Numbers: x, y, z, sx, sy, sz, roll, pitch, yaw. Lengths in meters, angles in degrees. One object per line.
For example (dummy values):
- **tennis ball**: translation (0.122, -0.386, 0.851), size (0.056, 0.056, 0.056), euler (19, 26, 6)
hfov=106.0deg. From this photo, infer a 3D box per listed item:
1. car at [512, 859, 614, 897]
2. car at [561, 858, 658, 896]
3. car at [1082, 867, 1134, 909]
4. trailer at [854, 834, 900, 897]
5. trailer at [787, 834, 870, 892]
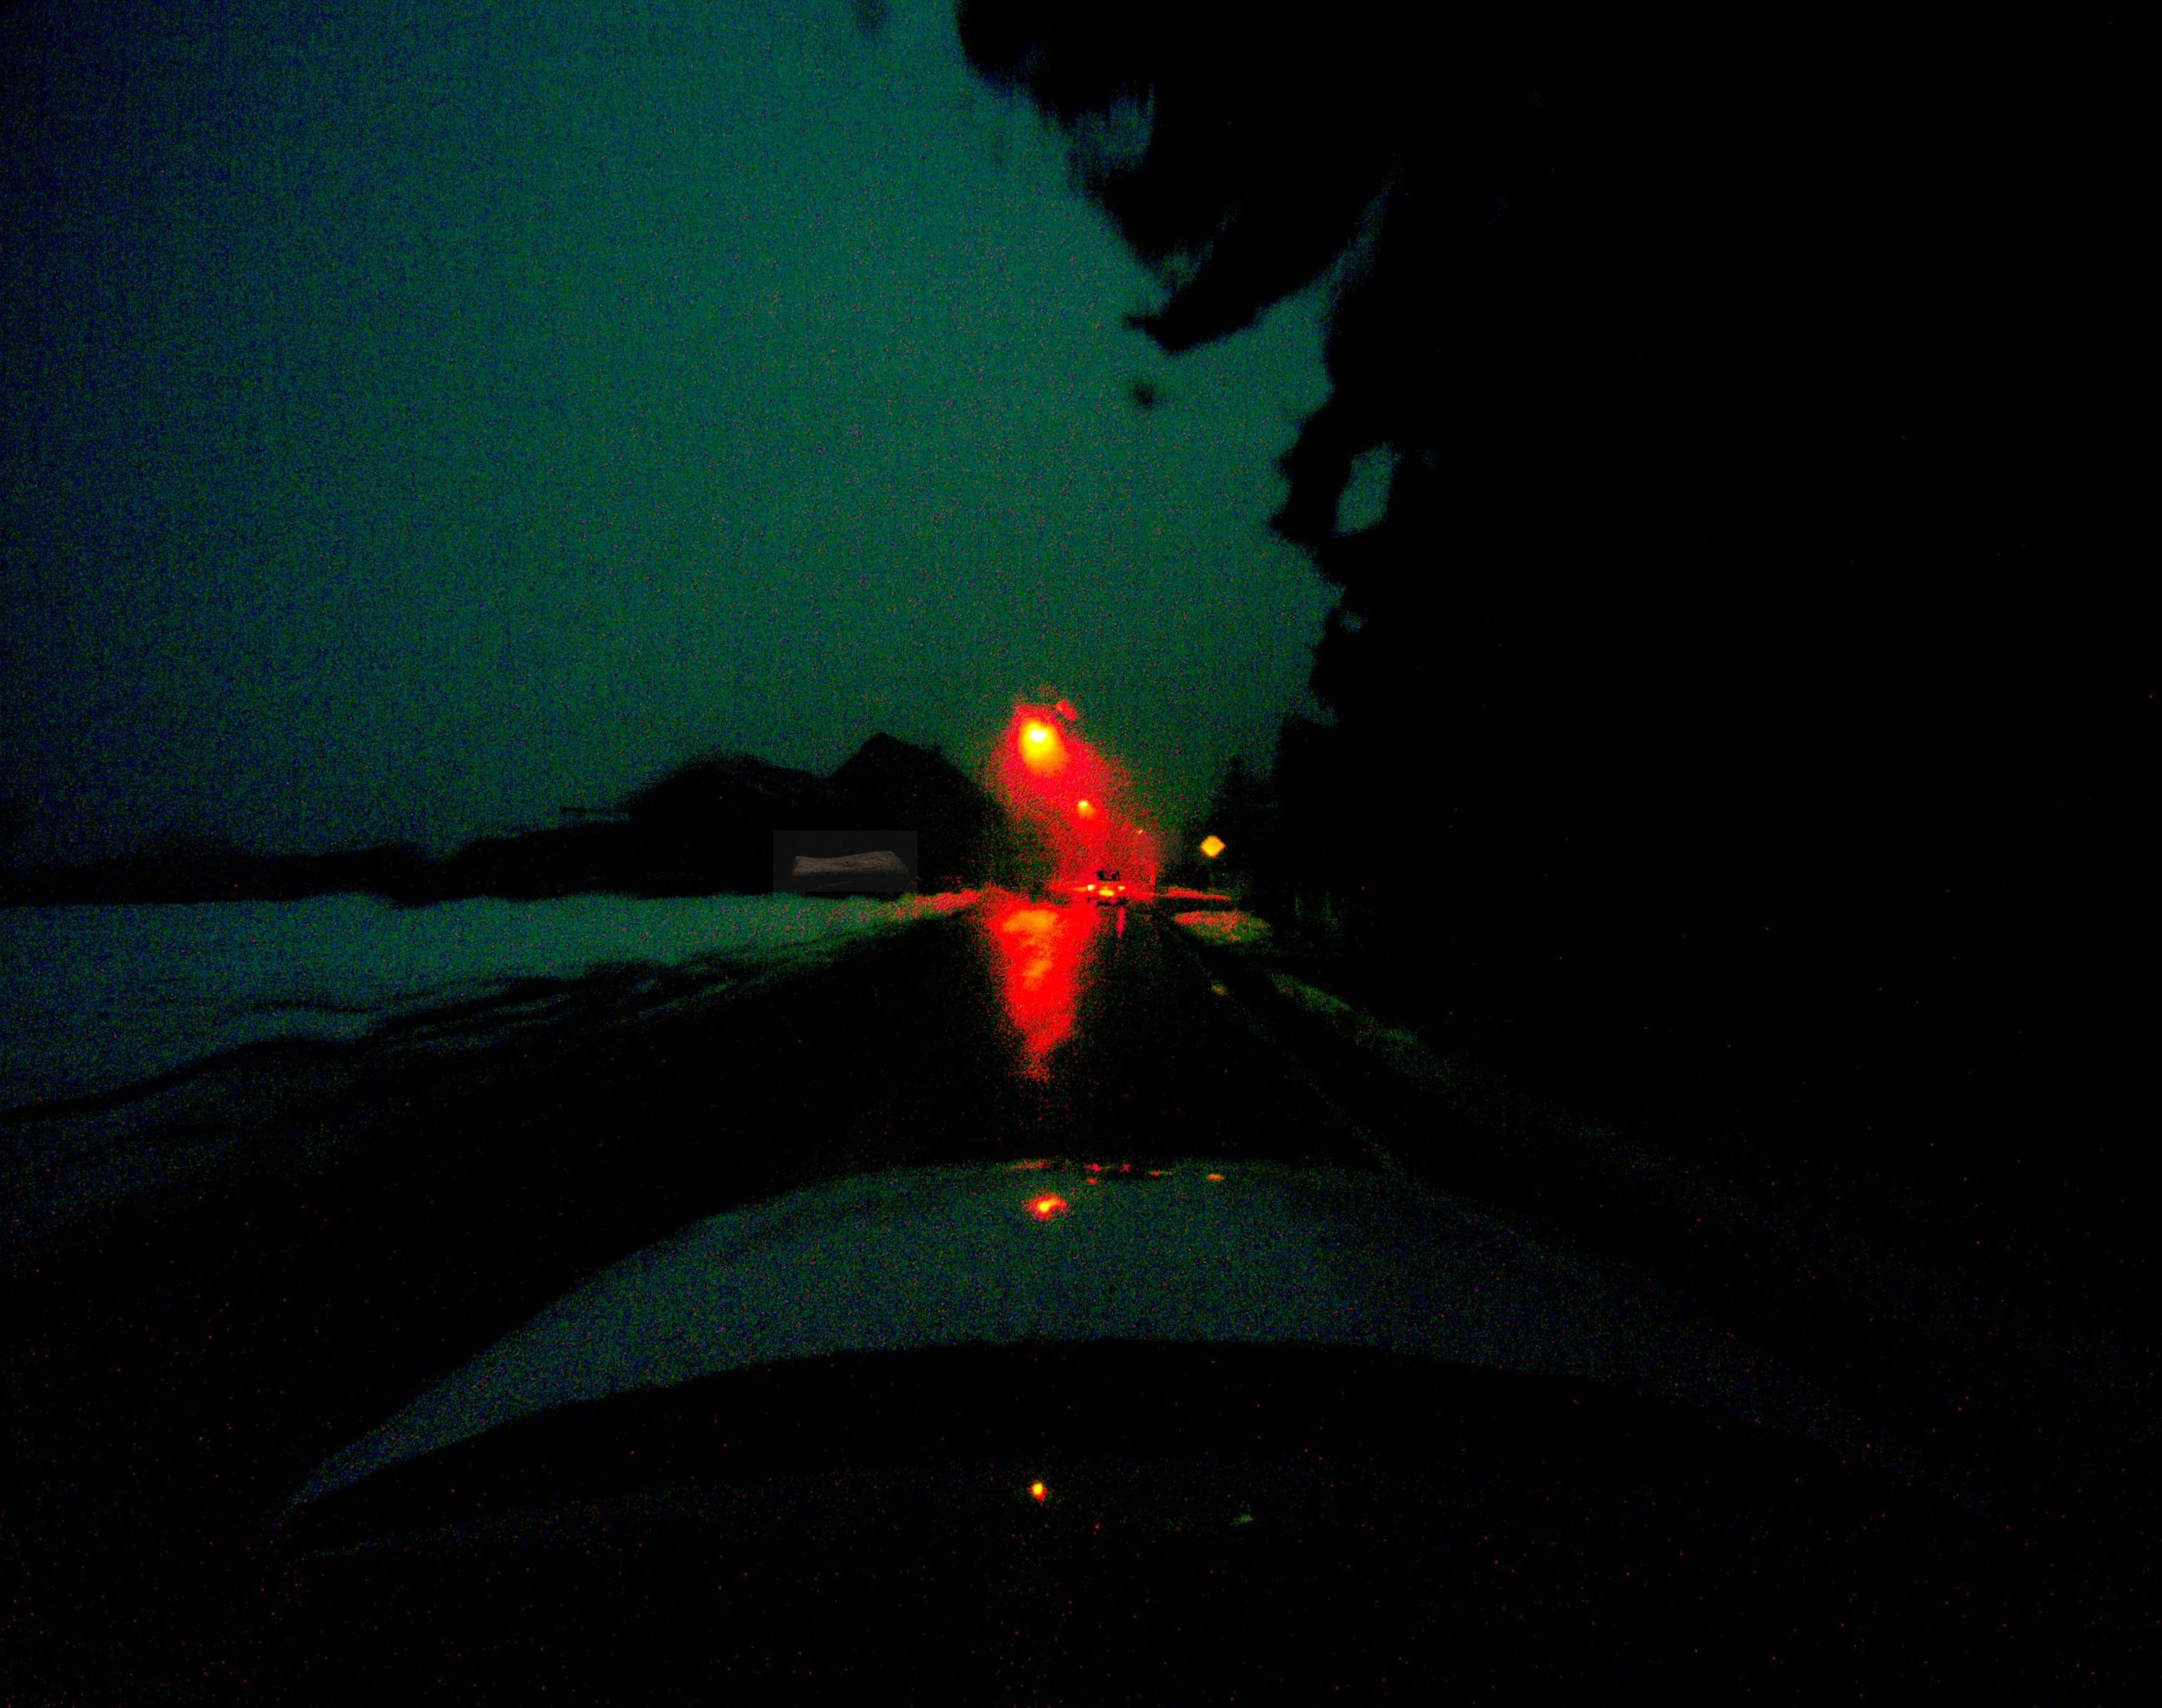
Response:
- **car**: translation (-25.069, 1.142, 39.603), size (1.982, 1.662, 4.009), euler (-2, 0, 8)
- **car**: translation (-22.638, 1.051, 39.297), size (1.983, 1.662, 4.008), euler (-2, 0, 7)
- **car**: translation (1.142, 1.373, 33.835), size (1.985, 1.508, 4.003), euler (-2, 0, 3)
- **trailer**: translation (-9.074, 0.506, 36.103), size (1.694, 2.605, 3.423), euler (-2, 0, -18)
- **trailer**: translation (-11.618, 0.399, 37.778), size (1.981, 2.489, 4.021), euler (-2, 0, 9)
